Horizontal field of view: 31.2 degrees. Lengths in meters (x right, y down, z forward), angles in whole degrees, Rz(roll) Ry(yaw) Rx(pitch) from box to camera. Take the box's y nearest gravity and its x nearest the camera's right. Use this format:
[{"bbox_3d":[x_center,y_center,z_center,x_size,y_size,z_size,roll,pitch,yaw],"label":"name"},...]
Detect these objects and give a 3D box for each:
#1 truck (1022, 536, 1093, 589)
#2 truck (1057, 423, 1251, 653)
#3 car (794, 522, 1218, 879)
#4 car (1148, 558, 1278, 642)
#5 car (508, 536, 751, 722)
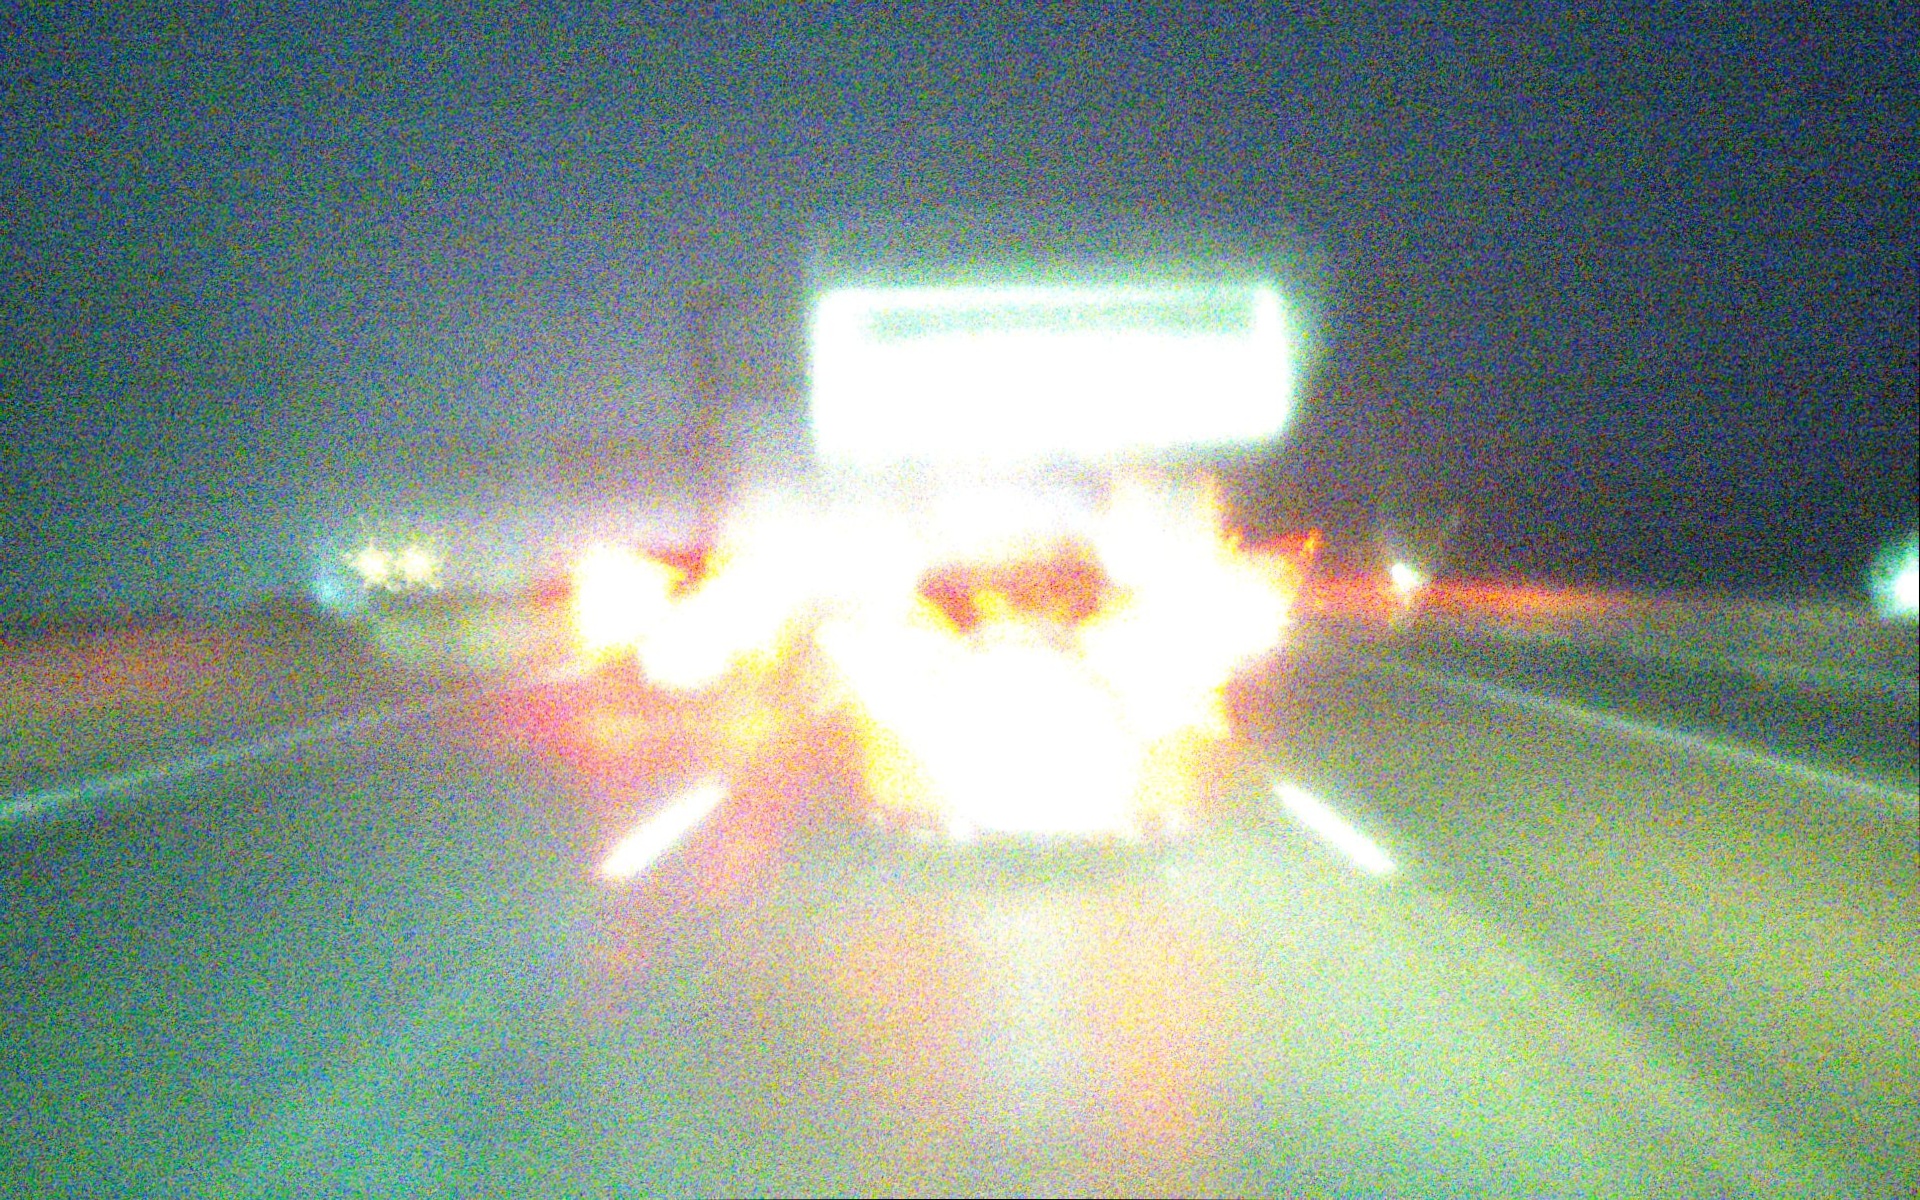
[{"bbox_3d":[5.880,-2.269,209.563,3.835,3.045,11.006,1,1,-1],"label":"truck"},{"bbox_3d":[4.968,-1.583,91.498,4.167,5.525,13.075,-2,0,0],"label":"truck"},{"bbox_3d":[0.213,0.449,18.113,1.916,1.589,4.233,-2,0,0],"label":"car"},{"bbox_3d":[4.378,-0.030,59.969,1.889,1.349,4.000,1,1,-1],"label":"car"},{"bbox_3d":[-3.418,0.263,36.458,1.993,1.771,4.887,-2,0,1],"label":"car"}]
